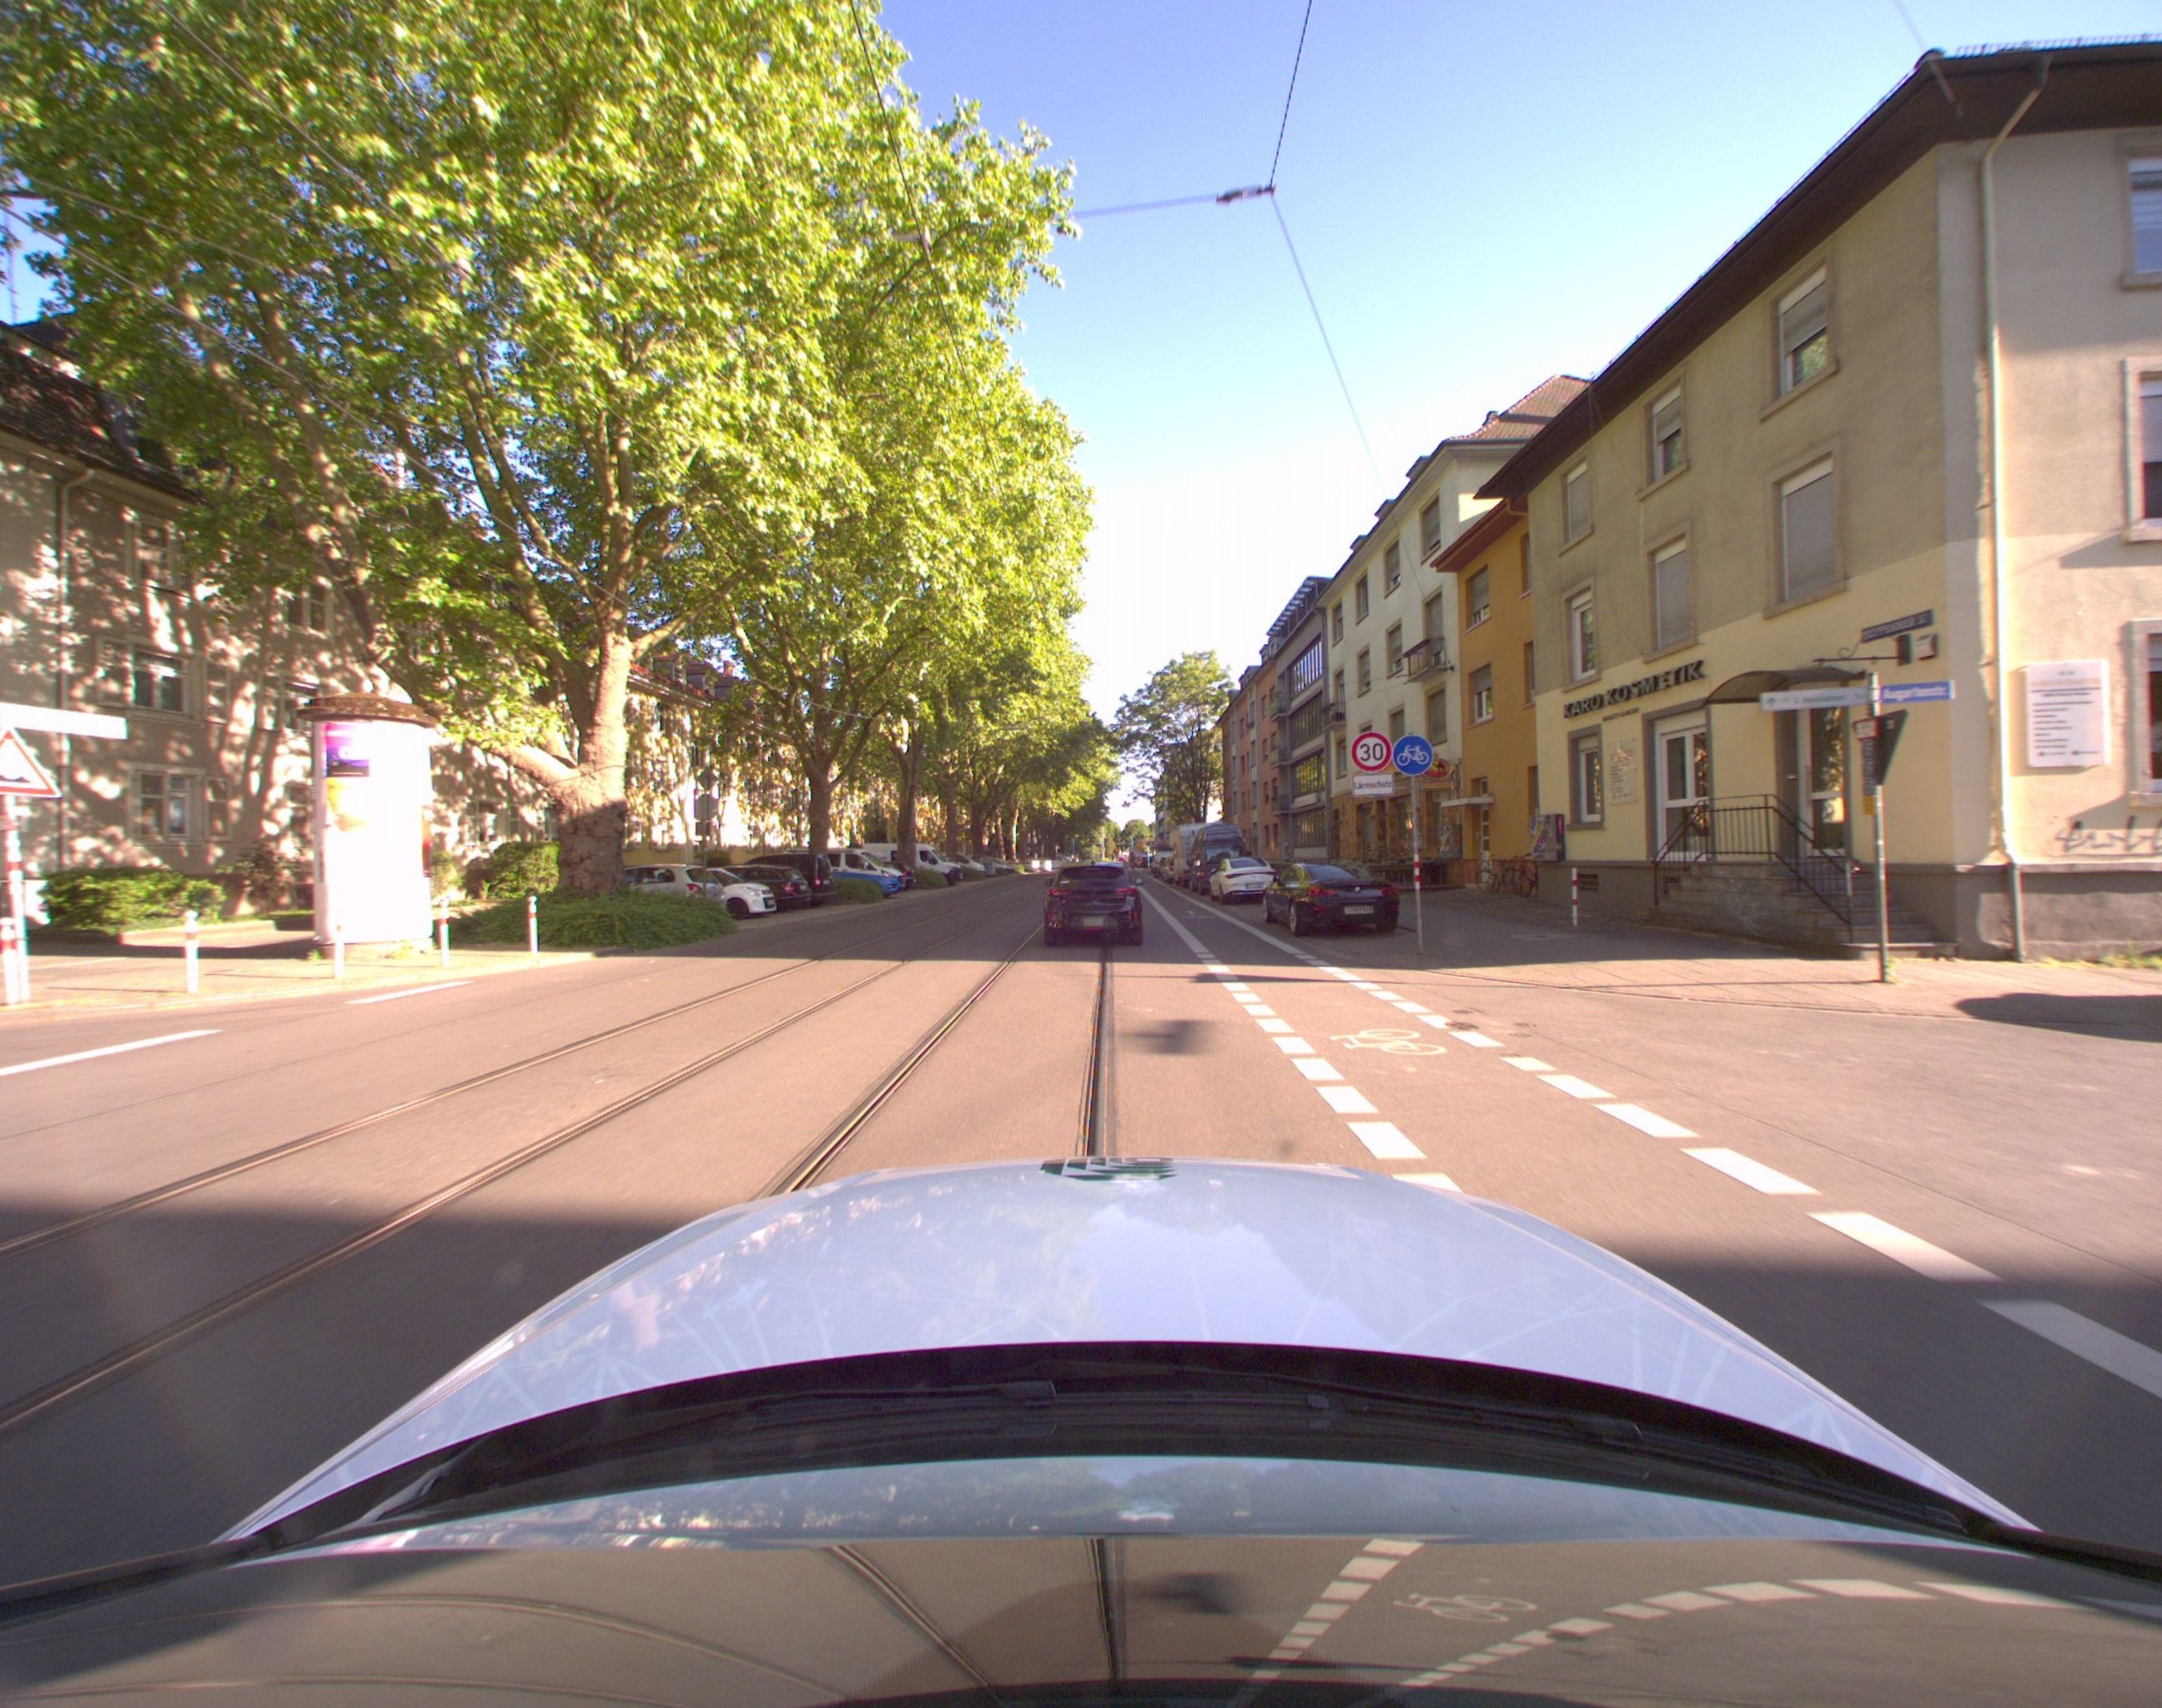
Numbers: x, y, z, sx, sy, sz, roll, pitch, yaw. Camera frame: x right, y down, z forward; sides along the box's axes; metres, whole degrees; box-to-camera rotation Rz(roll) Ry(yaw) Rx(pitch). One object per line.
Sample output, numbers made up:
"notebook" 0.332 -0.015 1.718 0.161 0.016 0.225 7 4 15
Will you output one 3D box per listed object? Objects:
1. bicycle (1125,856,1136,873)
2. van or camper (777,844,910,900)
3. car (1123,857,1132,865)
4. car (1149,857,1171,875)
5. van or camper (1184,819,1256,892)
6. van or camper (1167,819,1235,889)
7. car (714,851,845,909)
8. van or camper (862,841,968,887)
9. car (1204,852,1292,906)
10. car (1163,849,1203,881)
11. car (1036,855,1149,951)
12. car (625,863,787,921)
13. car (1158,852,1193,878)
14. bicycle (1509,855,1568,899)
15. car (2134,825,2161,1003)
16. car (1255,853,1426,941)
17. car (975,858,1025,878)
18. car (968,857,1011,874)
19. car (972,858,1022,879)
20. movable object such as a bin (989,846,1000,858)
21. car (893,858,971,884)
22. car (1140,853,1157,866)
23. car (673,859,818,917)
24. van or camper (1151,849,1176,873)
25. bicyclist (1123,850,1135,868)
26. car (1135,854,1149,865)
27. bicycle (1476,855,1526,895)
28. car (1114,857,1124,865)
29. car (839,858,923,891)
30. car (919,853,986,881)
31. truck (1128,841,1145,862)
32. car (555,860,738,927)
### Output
"bicycle" 4.661 0.954 77.062 0.912 1.561 3.407 -1 0 3
"van or camper" -9.673 0.712 33.497 4.807 2.190 2.118 -1 0 -2
"car" 11.002 1.584 192.137 1.986 1.695 4.742 -3 0 2
"car" 7.125 1.081 73.703 1.699 1.473 4.002 -2 0 2
"van or camper" 5.681 0.056 33.936 2.124 2.663 4.981 -3 0 2
"van or camper" 5.809 -0.016 40.225 2.453 3.064 6.270 -3 0 2
"car" -9.972 0.847 27.085 3.668 1.814 1.705 -1 0 1
"van or camper" -9.403 0.560 46.432 5.366 2.516 2.447 -1 0 3
"car" 5.365 0.753 26.837 1.986 1.493 4.742 -3 0 2
"car" 5.753 0.615 46.338 1.786 1.628 4.278 -3 0 2
"car" 0.251 0.778 14.964 1.775 1.496 4.002 -1 0 2
"car" -10.340 1.023 22.676 3.676 1.485 1.699 -1 0 -5
"car" 5.984 0.662 51.875 1.781 1.522 4.324 -3 0 2
"bicycle" 11.047 0.529 19.729 0.424 0.997 1.859 -1 0 2
"car" 12.110 0.561 6.569 4.426 1.639 1.906 -1 2 6
"car" 4.949 0.732 16.302 1.986 1.380 4.742 -3 0 2
"car" -7.426 1.265 74.893 4.210 1.688 1.938 -2 0 9
"car" -8.879 1.093 79.127 3.832 1.498 1.863 -2 0 2
"car" -7.438 1.251 72.603 4.181 1.757 1.741 -1 0 3
"movable object such as a bin" -12.807 -0.301 120.560 1.328 1.869 2.008 0 -1 2
"car" -8.899 1.008 48.747 4.247 1.398 1.754 -2 0 2
"car" 8.037 0.663 97.568 1.727 1.462 3.918 -3 0 2
"car" -10.132 0.995 24.817 3.674 1.624 1.797 -1 0 -3
"van or camper" 6.837 0.539 67.986 1.748 1.864 4.832 -2 0 2
"bicyclist" 4.569 0.472 77.257 1.085 1.647 1.401 -1 0 2
"car" 8.225 0.764 110.714 1.653 1.399 4.742 -3 0 2
"bicycle" 11.130 0.544 21.642 0.424 0.997 1.859 -1 0 2
"car" 8.614 1.542 184.965 1.986 1.695 4.742 -3 0 2
"car" -9.748 0.990 39.825 3.665 1.565 1.615 -1 0 4
"car" -9.320 0.945 59.477 4.649 1.945 1.959 -1 0 -5
"truck" 9.452 -0.335 139.285 2.528 3.338 7.199 -4 -1 3
"car" -10.724 0.963 20.238 3.662 1.554 1.707 -1 0 7
